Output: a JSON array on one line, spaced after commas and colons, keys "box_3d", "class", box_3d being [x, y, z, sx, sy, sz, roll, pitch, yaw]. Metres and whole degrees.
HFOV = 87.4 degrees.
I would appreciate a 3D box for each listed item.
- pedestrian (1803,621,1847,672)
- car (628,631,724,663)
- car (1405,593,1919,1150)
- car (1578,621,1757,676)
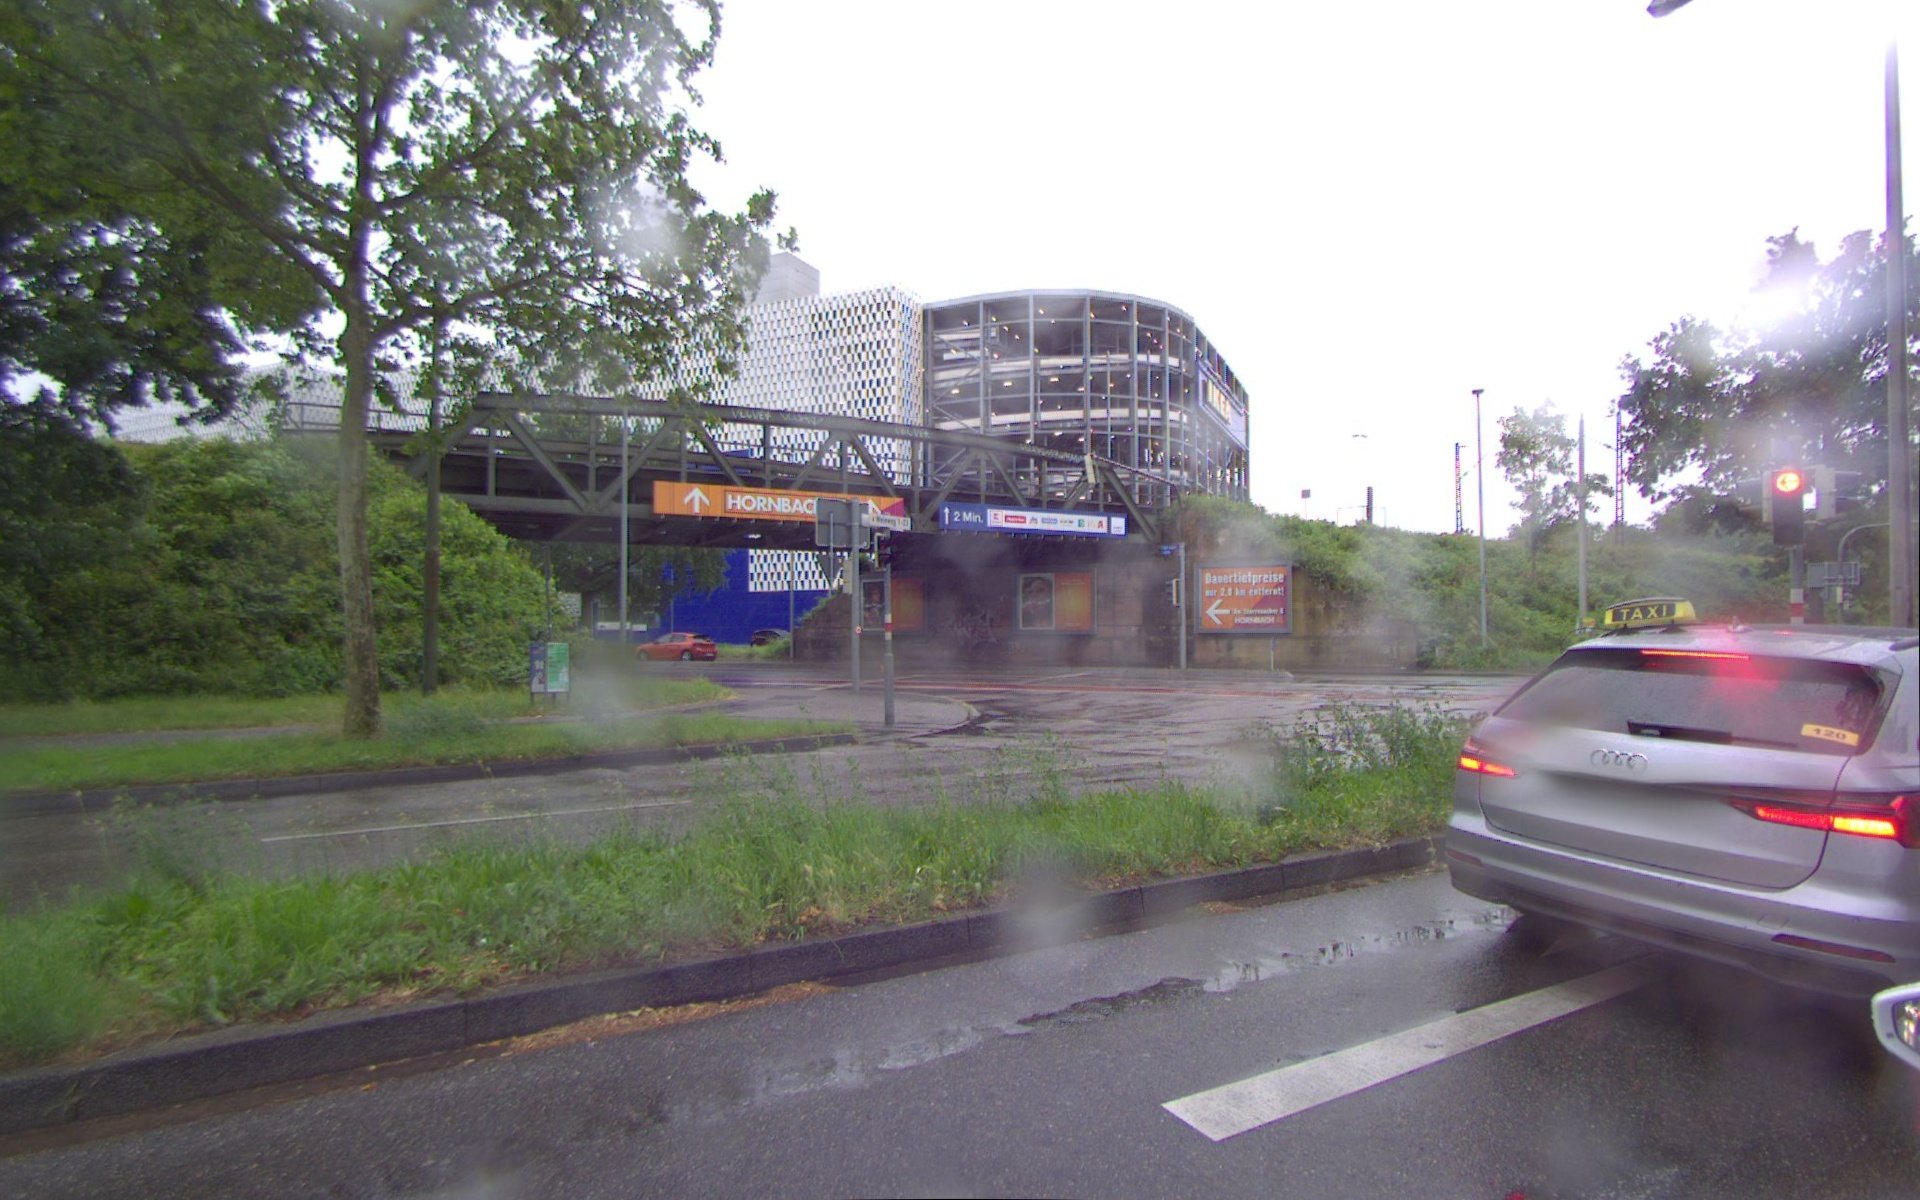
[{"box_3d": [32.386, 1.734, 37.599, 1.122, 1.871, 1.092, 2, -2, -41], "class": "pedestrian"}, {"box_3d": [-13.252, 2.183, 46.877, 4.131, 1.392, 1.746, 0, -2, 24], "class": "car"}, {"box_3d": [4.406, 0.811, 4.807, 4.766, 1.595, 1.760, 1, 0, -31], "class": "car"}, {"box_3d": [21.421, 1.444, 30.625, 4.166, 1.580, 1.746, -1, -2, 24], "class": "car"}]
